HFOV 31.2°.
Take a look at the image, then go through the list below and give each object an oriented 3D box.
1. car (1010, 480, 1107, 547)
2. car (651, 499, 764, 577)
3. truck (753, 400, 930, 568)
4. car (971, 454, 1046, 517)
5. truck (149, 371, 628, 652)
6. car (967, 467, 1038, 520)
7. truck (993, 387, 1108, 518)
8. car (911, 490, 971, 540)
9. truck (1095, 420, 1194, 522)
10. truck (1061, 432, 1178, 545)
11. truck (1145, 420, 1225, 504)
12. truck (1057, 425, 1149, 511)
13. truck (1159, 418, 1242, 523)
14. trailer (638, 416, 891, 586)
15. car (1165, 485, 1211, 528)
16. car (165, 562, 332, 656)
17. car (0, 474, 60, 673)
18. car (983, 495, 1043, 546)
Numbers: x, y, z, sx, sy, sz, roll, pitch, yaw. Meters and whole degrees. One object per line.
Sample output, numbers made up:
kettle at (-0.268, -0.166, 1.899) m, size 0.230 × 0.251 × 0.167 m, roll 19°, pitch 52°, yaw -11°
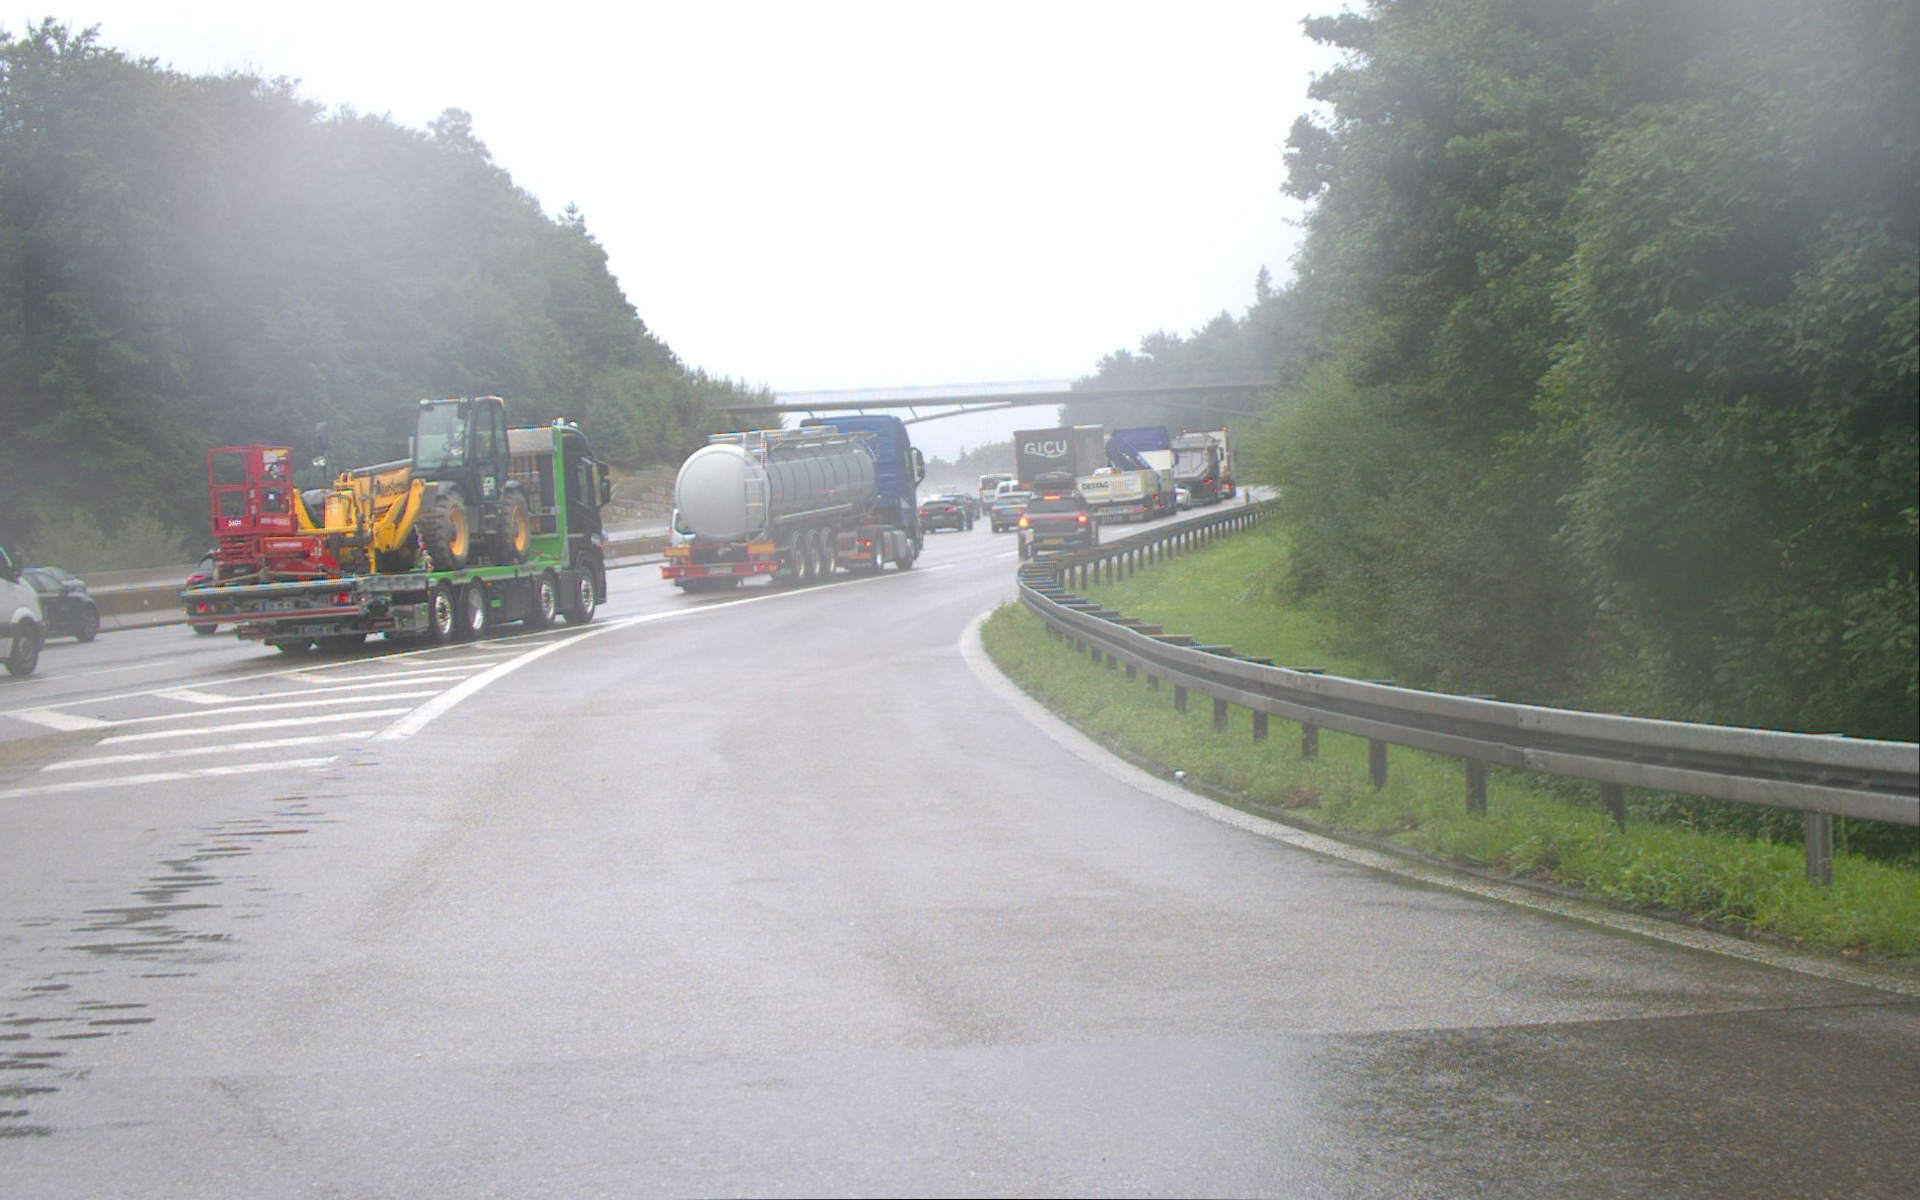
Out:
car at (2.493, -2.148, 86.259) m, size 1.994 × 1.630 × 3.999 m, roll 1°, pitch 1°, yaw 8°
car at (-6.189, -1.548, 84.641) m, size 1.820 × 1.761 × 3.999 m, roll -2°, pitch 2°, yaw 9°
truck at (-2.722, -2.755, 80.879) m, size 2.878 × 3.680 × 5.054 m, roll -3°, pitch 2°, yaw 12°
car at (2.447, -5.664, 170.560) m, size 3.095 × 2.992 × 6.772 m, roll 1°, pitch 1°, yaw 6°
truck at (-8.183, -1.398, 51.540) m, size 2.832 × 3.576 × 11.793 m, roll -3°, pitch 2°, yaw 12°
car at (2.501, -6.161, 199.614) m, size 3.247 × 2.992 × 6.771 m, roll 1°, pitch 1°, yaw 8°
truck at (4.068, -6.414, 151.351) m, size 3.756 × 5.480 × 10.169 m, roll 1°, pitch 1°, yaw 9°
car at (-0.769, -3.461, 140.560) m, size 1.798 × 1.897 × 3.999 m, roll -3°, pitch 1°, yaw 8°
truck at (8.231, -5.622, 151.865) m, size 3.508 × 4.253 × 10.600 m, roll 1°, pitch 1°, yaw 8°
truck at (6.392, -4.455, 135.680) m, size 3.601 × 4.090 × 11.558 m, roll -3°, pitch 2°, yaw 7°
truck at (11.478, -6.922, 174.358) m, size 3.755 × 3.957 × 11.058 m, roll 1°, pitch 1°, yaw 5°
truck at (7.624, -6.897, 181.537) m, size 3.577 × 4.081 × 10.876 m, roll -2°, pitch 0°, yaw 9°
truck at (13.887, -7.367, 197.577) m, size 4.337 × 5.744 × 9.729 m, roll 1°, pitch 1°, yaw 6°
trailer at (-4.042, -2.233, 74.221) m, size 2.875 × 3.277 × 10.074 m, roll -3°, pitch 2°, yaw 11°
car at (10.642, -4.332, 160.045) m, size 1.798 × 1.897 × 3.999 m, roll -3°, pitch 1°, yaw 7°
car at (-13.511, 0.144, 65.534) m, size 1.786 × 1.721 × 3.998 m, roll 1°, pitch 1°, yaw 10°
car at (-14.024, -0.258, 44.237) m, size 2.216 × 2.620 × 5.841 m, roll -3°, pitch 1°, yaw 12°
car at (2.026, -2.994, 130.237) m, size 1.798 × 1.897 × 3.999 m, roll 0°, pitch 1°, yaw 7°
